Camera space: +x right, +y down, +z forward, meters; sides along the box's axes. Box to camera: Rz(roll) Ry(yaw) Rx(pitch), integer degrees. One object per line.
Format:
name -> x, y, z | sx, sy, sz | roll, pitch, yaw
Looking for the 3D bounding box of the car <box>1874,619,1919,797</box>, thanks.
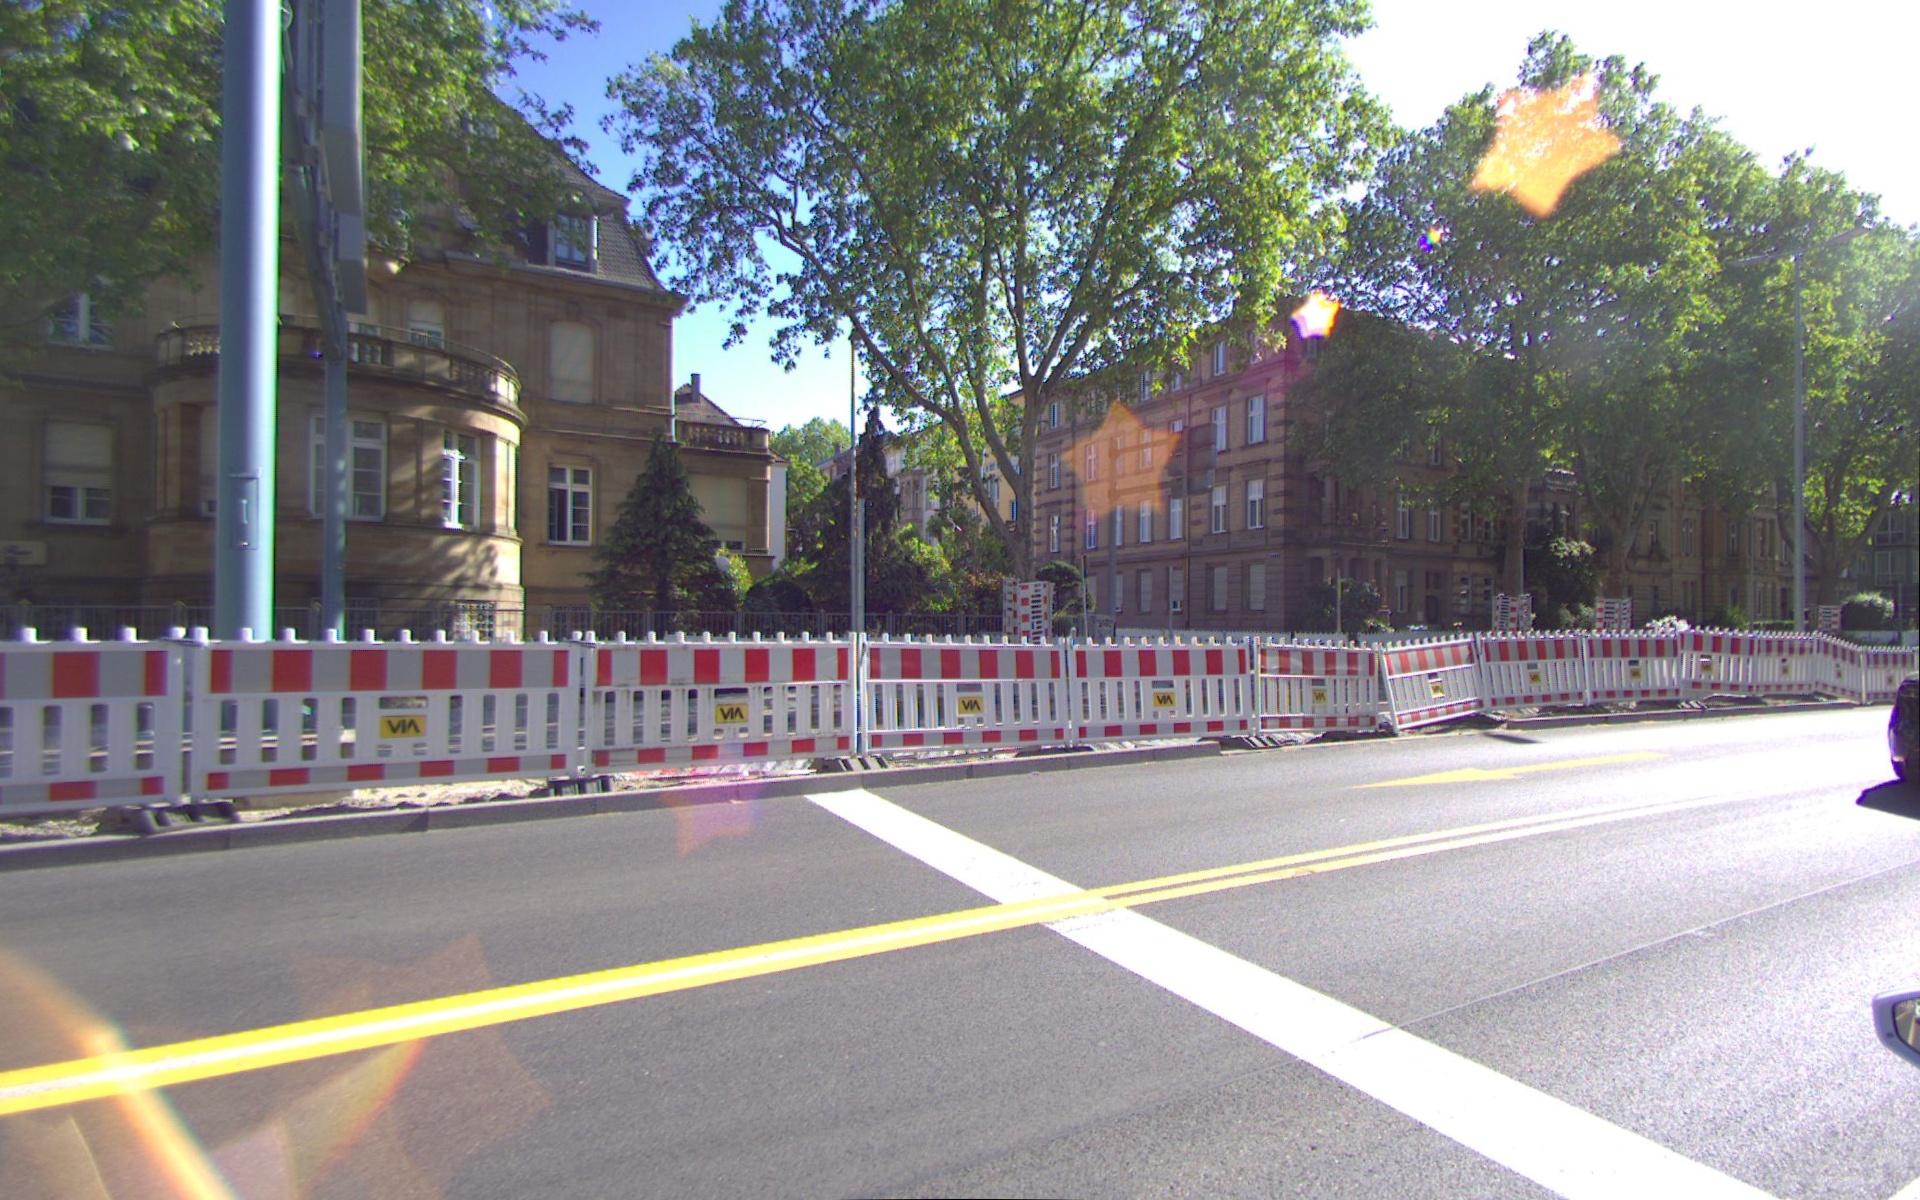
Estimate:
car -> 10.333, 0.952, 9.106 | 4.424, 1.503, 1.829 | 1, -1, -31
